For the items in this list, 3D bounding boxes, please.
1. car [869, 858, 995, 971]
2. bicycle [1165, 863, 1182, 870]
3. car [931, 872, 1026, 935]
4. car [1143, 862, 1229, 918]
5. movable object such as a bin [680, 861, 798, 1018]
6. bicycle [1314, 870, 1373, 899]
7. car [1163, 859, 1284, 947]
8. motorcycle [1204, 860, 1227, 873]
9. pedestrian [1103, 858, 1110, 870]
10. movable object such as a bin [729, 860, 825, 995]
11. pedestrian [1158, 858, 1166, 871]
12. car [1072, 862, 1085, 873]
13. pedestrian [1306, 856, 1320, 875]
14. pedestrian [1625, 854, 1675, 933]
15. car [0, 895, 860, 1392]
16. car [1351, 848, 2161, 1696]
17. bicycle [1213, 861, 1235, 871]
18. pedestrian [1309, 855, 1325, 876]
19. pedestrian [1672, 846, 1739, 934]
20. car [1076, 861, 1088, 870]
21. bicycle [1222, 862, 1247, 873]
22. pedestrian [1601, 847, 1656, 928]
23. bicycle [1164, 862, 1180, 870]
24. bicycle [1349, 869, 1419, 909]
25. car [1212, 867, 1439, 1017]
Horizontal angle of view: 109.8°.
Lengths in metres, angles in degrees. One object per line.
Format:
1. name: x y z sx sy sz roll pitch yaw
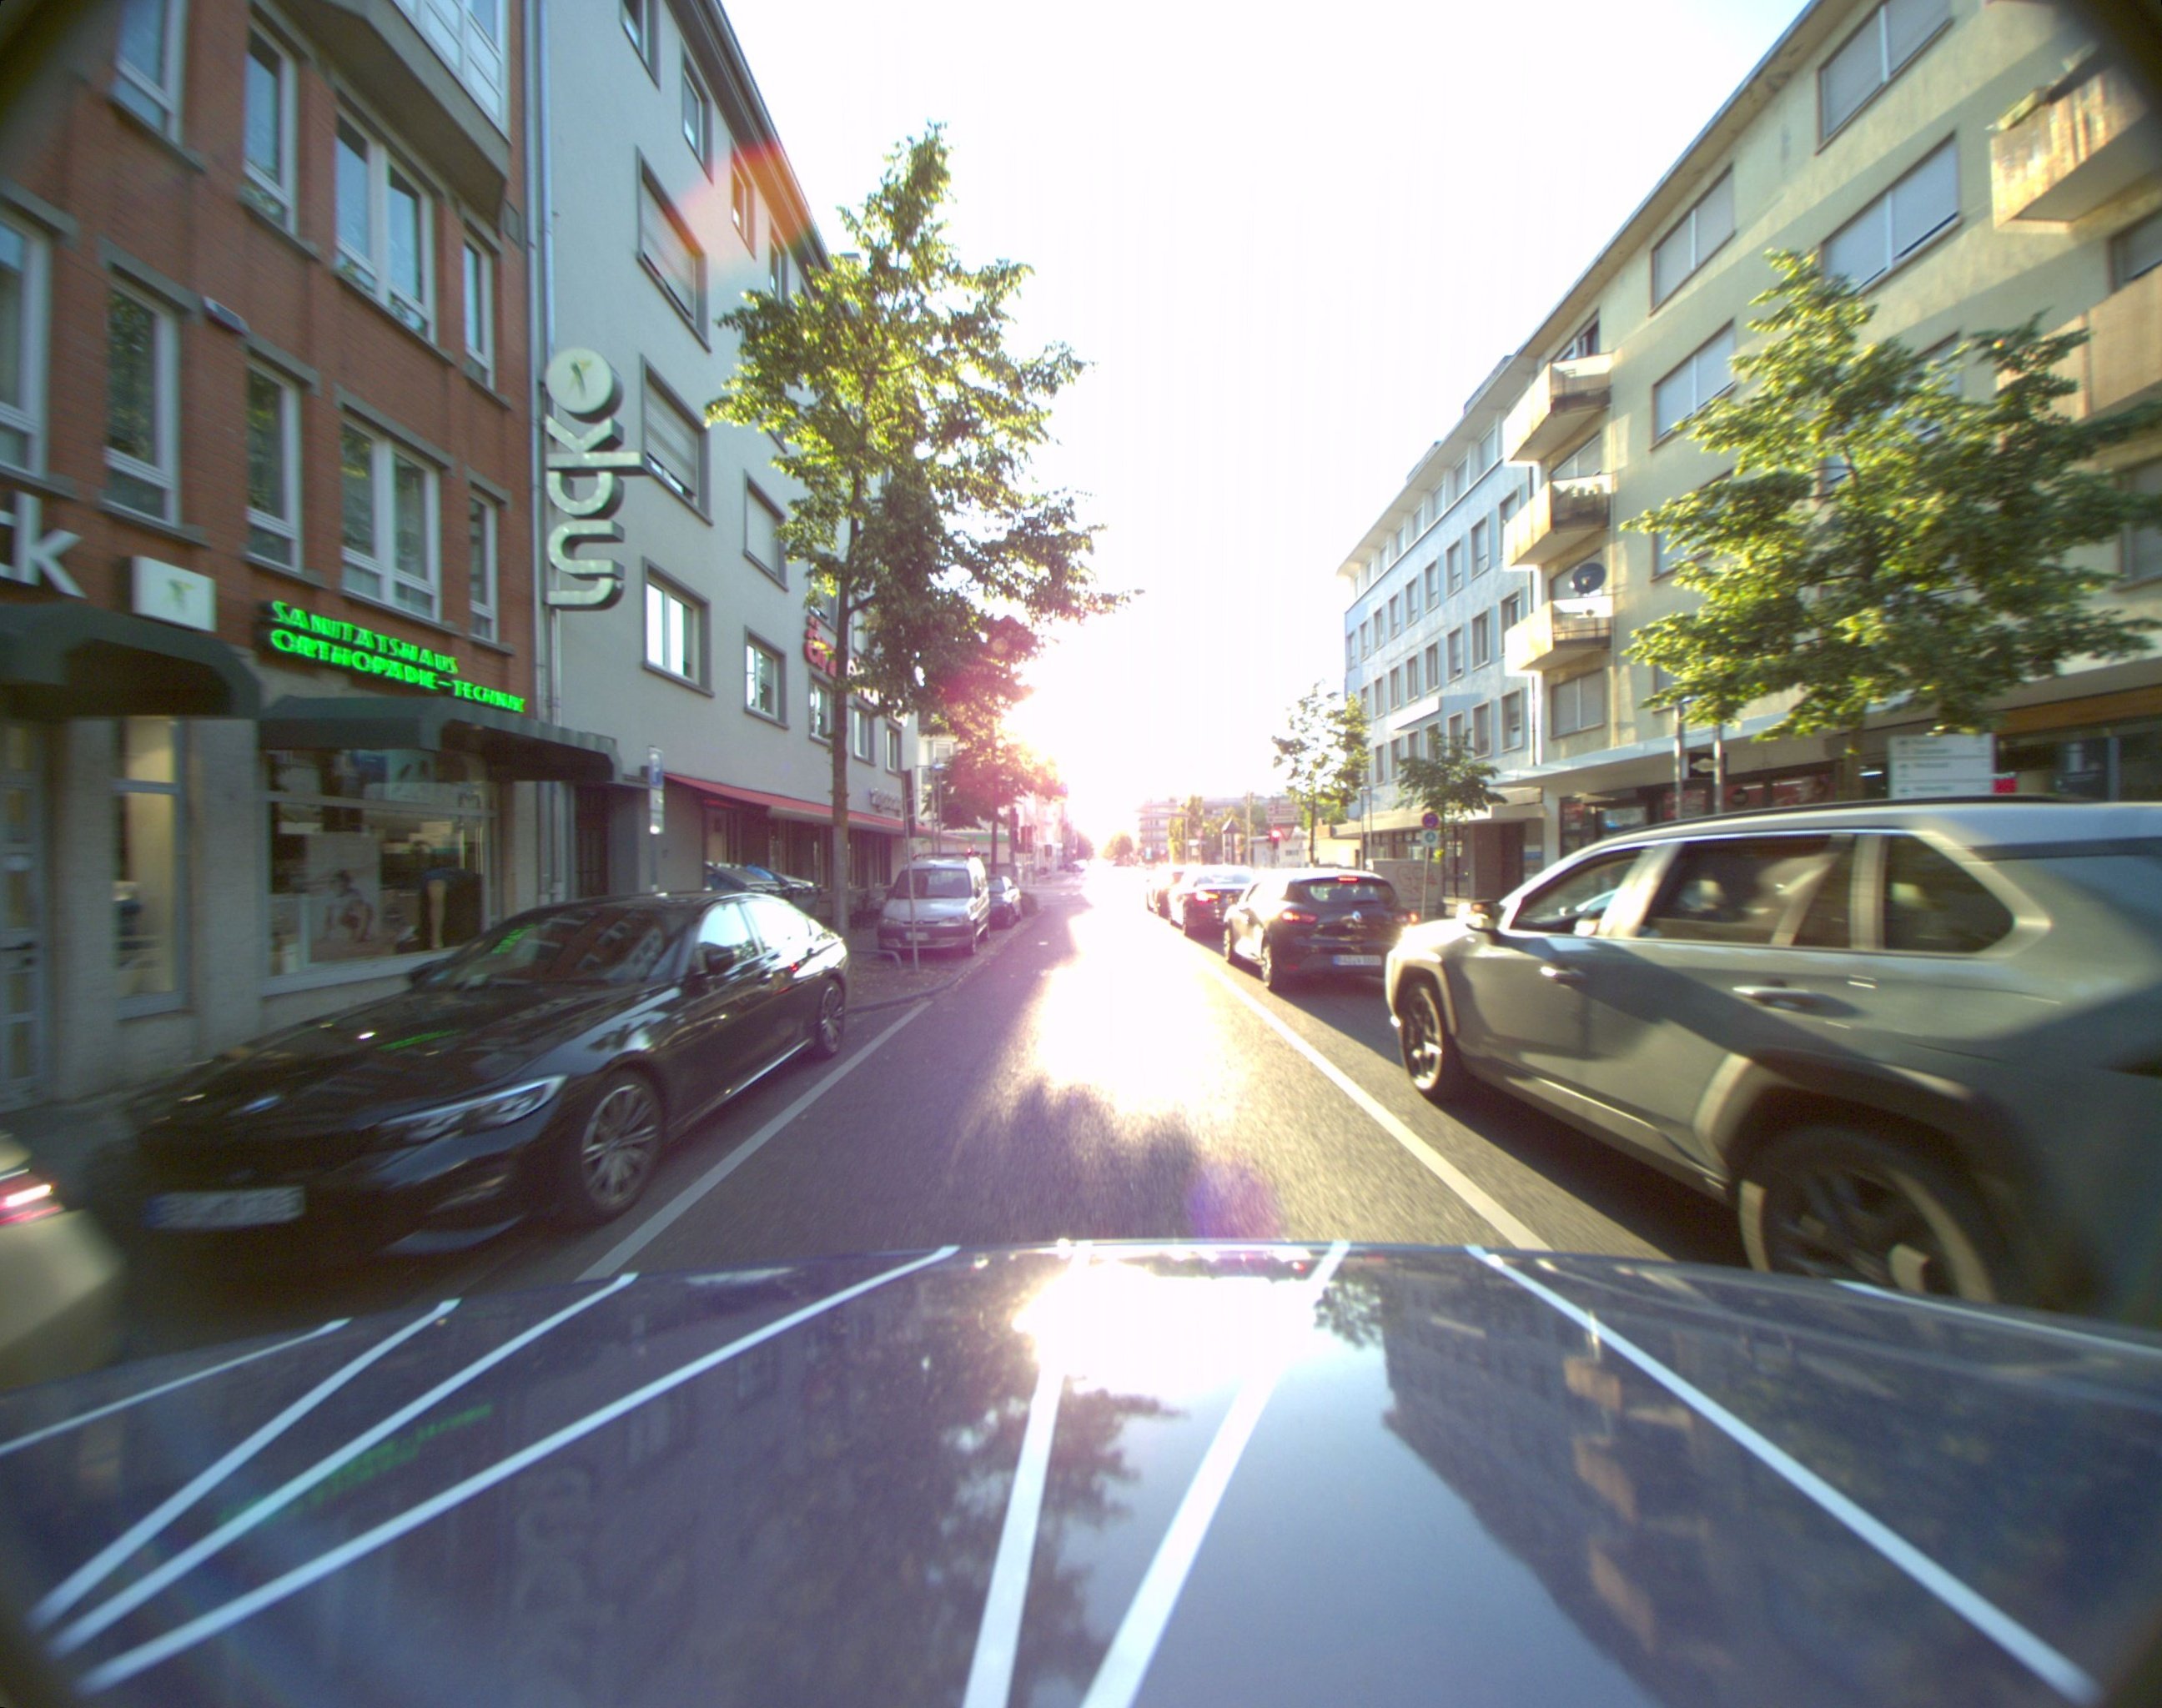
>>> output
1. car: -2.660 1.009 14.390 1.659 1.768 4.011 -2 -1 -2
2. bicycle: 14.093 1.885 115.753 2.398 0.953 0.673 -2 1 8
3. car: -2.599 1.233 20.230 1.942 1.368 4.182 -2 0 0
4. car: 3.133 1.054 23.536 1.963 1.538 4.510 -1 -1 -1
5. movable object such as a bin: -4.205 0.994 9.467 0.837 1.763 1.353 -2 1 -2
6. bicycle: 9.708 1.130 28.148 2.015 0.986 0.491 -2 1 -3
7. car: 3.014 0.973 17.034 1.951 1.635 4.615 0 0 2
8. motorcycle: 14.878 1.393 84.105 2.450 1.358 0.780 -2 0 6
9. pedestrian: 3.499 1.383 105.339 0.842 1.736 0.701 -2 1 0
10. movable object such as a bin: -4.268 0.987 10.767 0.837 1.763 1.205 -2 1 -2
11. pedestrian: 10.409 1.372 97.285 0.905 1.666 0.780 -2 1 13
12. car: -0.353 2.149 122.258 1.999 1.538 4.509 -2 0 -1
13. pedestrian: 20.353 1.028 66.657 0.781 1.666 0.904 -3 1 -34
14. pedestrian: 12.354 0.836 16.496 0.768 1.666 0.744 -1 0 43
15. car: -2.966 1.095 4.802 1.757 1.412 4.510 -2 -1 0
16. car: 3.019 0.796 3.242 1.946 1.635 4.737 0 0 -1
17. bicycle: 15.220 1.258 80.851 2.180 1.081 0.779 0 1 1
18. pedestrian: 20.306 0.992 65.460 0.908 1.774 0.879 -2 1 -23
19. pedestrian: 13.107 0.743 15.980 0.742 1.808 0.814 0 0 3
20. car: 0.171 2.002 134.443 1.998 1.538 4.509 -2 0 2
21. bicycle: 15.130 1.316 74.936 2.196 1.081 0.779 -1 1 -5
22. pedestrian: 12.608 0.765 17.521 0.769 1.836 0.744 -1 -1 11
23. bicycle: 14.083 1.823 117.408 2.398 1.065 0.673 -2 1 8
24. bicycle: 9.806 1.121 24.631 2.014 1.211 0.491 -2 1 1
25. car: 2.944 0.957 10.200 1.728 1.540 4.466 0 -1 2
